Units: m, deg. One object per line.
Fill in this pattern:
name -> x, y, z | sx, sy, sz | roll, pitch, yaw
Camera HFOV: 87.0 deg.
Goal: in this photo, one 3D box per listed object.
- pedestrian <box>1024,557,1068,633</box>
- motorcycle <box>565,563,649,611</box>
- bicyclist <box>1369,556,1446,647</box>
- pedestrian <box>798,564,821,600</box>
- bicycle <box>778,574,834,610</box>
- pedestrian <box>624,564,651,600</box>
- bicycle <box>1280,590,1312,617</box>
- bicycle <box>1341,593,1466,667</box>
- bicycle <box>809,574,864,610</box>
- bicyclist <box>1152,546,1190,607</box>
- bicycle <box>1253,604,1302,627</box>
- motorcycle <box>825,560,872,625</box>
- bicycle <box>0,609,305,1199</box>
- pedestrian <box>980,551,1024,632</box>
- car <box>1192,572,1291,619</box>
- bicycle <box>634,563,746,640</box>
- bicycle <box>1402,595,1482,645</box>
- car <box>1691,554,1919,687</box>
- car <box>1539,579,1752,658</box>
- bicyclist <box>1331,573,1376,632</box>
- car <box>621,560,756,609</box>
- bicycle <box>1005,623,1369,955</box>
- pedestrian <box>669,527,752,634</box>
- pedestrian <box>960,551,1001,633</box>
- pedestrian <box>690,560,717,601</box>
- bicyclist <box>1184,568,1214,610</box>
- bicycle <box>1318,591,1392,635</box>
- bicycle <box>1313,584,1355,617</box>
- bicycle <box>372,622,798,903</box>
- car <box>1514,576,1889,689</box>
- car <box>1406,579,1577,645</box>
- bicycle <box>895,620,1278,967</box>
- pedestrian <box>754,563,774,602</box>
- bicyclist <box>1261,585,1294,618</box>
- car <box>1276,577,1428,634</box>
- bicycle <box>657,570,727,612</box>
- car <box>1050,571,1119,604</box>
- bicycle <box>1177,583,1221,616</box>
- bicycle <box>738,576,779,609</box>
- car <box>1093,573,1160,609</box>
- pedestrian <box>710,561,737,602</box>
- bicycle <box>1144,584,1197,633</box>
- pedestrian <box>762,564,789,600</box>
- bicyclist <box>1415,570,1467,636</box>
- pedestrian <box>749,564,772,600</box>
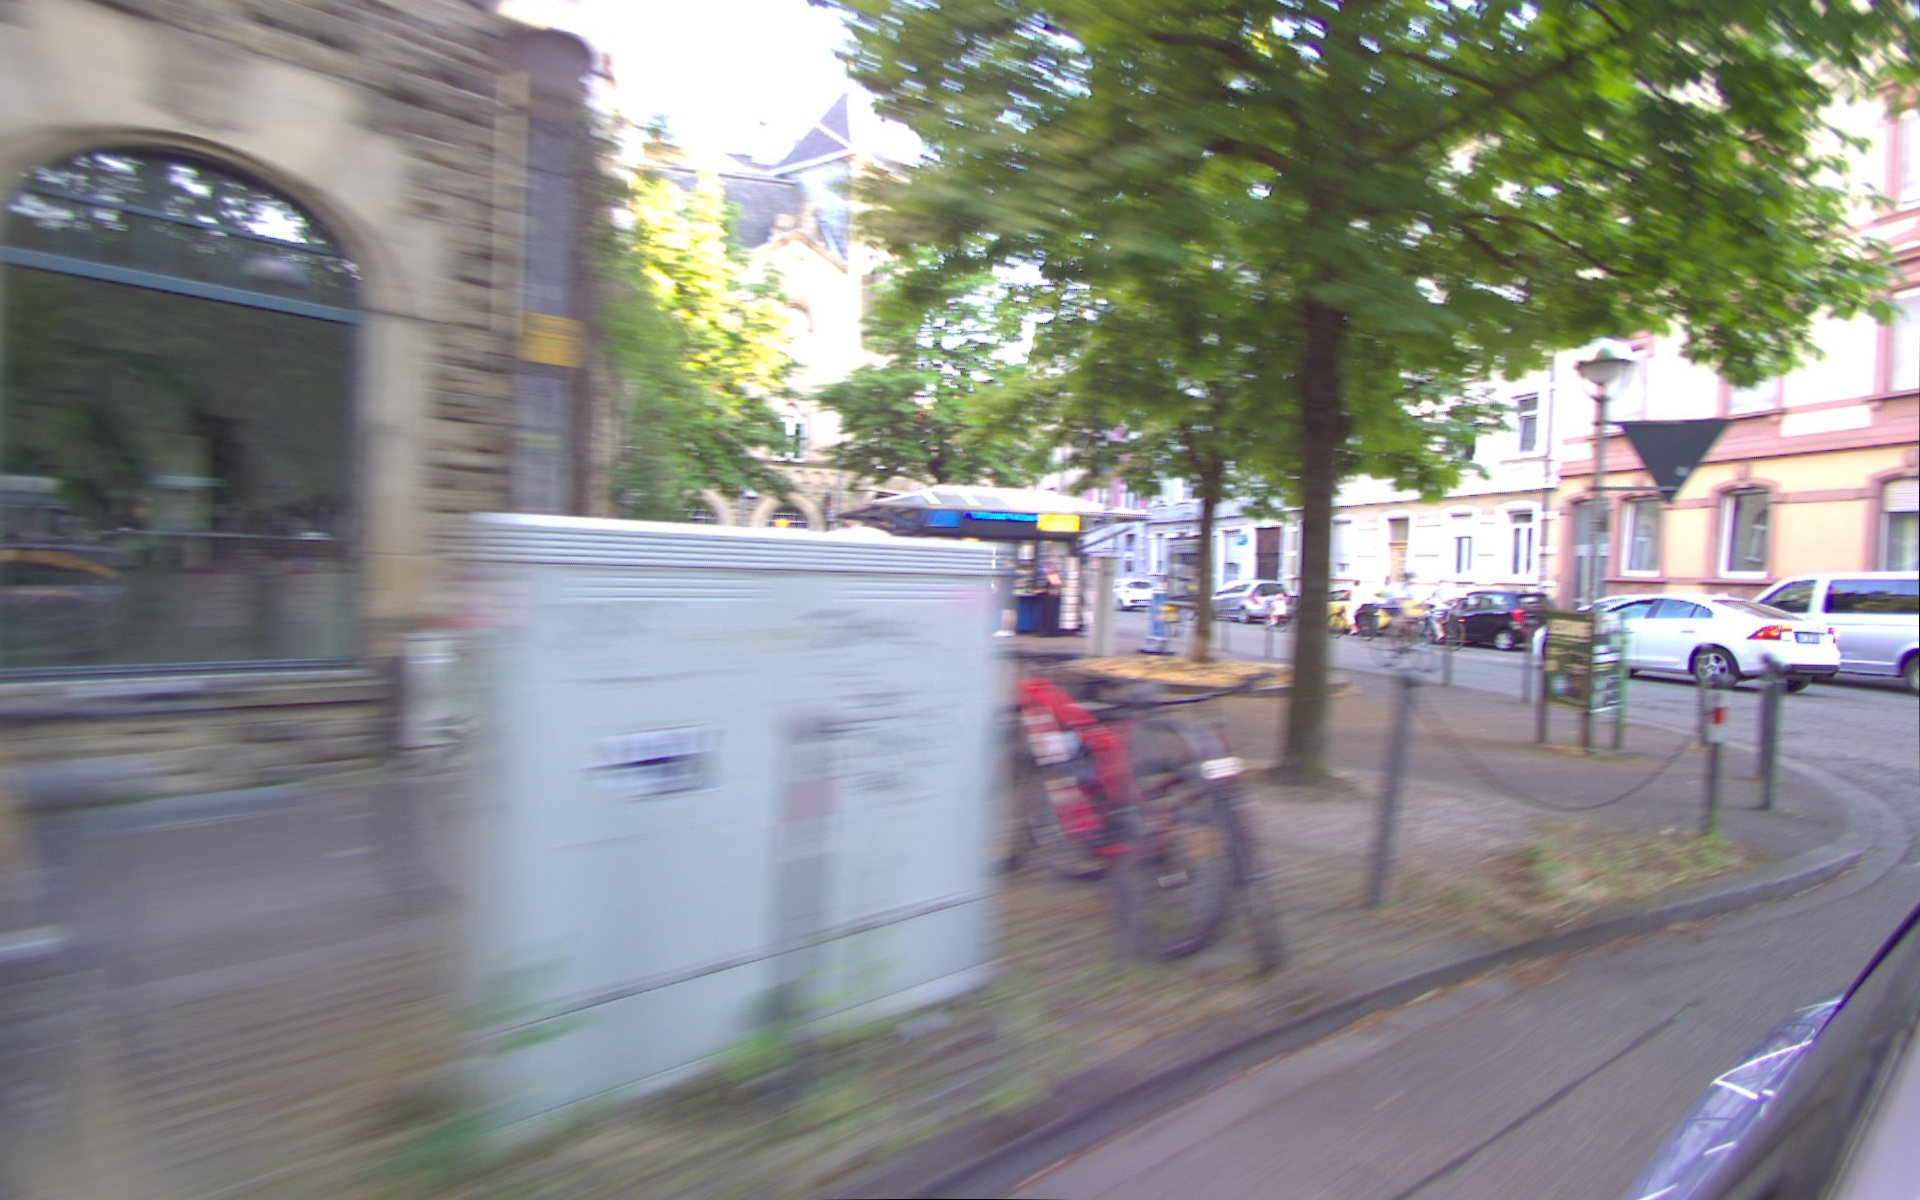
pedestrian -> 1.809, -0.104, 21.267 | 0.667, 1.558, 0.589 | 1, 2, -45
motorcycle -> -8.334, -0.314, 23.942 | 1.794, 1.067, 0.580 | 1, 1, -13
bicyclist -> 7.733, 0.019, 17.517 | 0.672, 1.531, 0.975 | 1, 1, -21
pedestrian -> -5.648, -0.694, 37.986 | 0.699, 1.314, 0.766 | 1, 1, -16
bicycle -> -5.286, -0.275, 34.831 | 1.797, 1.176, 0.539 | 1, 1, -28
pedestrian -> -11.623, -0.659, 36.495 | 0.907, 1.242, 0.825 | 1, 1, -17
bicycle -> 13.366, 0.120, 40.296 | 0.393, 0.989, 1.469 | 4, 0, -17
bicycle -> 7.675, 0.488, 17.644 | 0.672, 1.166, 2.120 | 1, 1, -21
bicycle -> -4.232, -0.267, 34.725 | 1.797, 1.165, 0.559 | 1, 1, -28
bicyclist -> 5.469, -0.605, 26.249 | 0.672, 1.531, 0.974 | 1, 1, -6
bicycle -> 9.908, 0.473, 31.607 | 0.638, 0.650, 1.467 | 1, 2, -23
motorcycle -> -2.694, -0.198, 24.233 | 0.852, 1.471, 1.886 | 2, 1, -13
bicycle -> -1.713, 0.642, 1.793 | 1.602, 1.162, 0.546 | 3, 2, 43
pedestrian -> 0.880, -0.176, 21.254 | 0.667, 1.657, 0.589 | 1, 2, -45
car -> 10.370, -0.219, 37.564 | 1.768, 1.612, 4.154 | -1, 2, -13
bicycle -> -4.728, 0.007, 17.689 | 1.894, 1.202, 0.630 | 3, 2, 25
bicycle -> 11.698, 0.465, 24.642 | 0.671, 1.108, 1.813 | 2, 1, -17
car -> 15.699, 0.264, 17.323 | 2.004, 2.082, 5.016 | 0, 2, -14
car -> 14.789, 0.330, 22.076 | 1.654, 1.510, 3.622 | 0, 2, -16
bicyclist -> 10.852, 0.061, 27.917 | 0.711, 1.603, 0.877 | 1, 1, -19
car -> -8.511, -0.505, 31.986 | 3.953, 1.401, 1.889 | 1, 2, -12
bicycle -> 0.865, 0.675, 4.294 | 0.424, 1.052, 1.608 | 1, 2, -35
pedestrian -> -4.450, -0.354, 18.070 | 0.995, 1.811, 0.972 | 3, 2, 25
pedestrian -> 0.424, -0.178, 20.993 | 0.664, 1.657, 0.592 | 1, 1, -16
pedestrian -> -9.337, -0.712, 36.790 | 0.883, 1.443, 0.716 | 1, 1, -17
bicyclist -> 8.904, -0.418, 37.748 | 0.700, 1.545, 0.869 | 1, 1, -14
bicycle -> 10.855, 0.334, 27.890 | 0.714, 1.108, 2.053 | 1, 2, -19
bicycle -> 13.815, 0.000, 37.471 | 0.471, 1.154, 1.868 | 2, 1, -13
bicycle -> -1.555, 0.612, 4.428 | 1.697, 0.981, 0.431 | 0, 2, -42
car -> 12.131, 0.432, 17.082 | 1.958, 1.535, 4.853 | 1, 2, -17
car -> 13.469, 0.244, 25.897 | 1.698, 1.510, 3.751 | -1, 2, -18
bicycle -> 0.412, 0.670, 4.303 | 0.424, 1.052, 1.900 | 1, 2, -35
pedestrian -> -7.101, -0.647, 36.637 | 0.699, 1.379, 0.822 | 1, 1, -11
bicyclist -> 9.906, 0.036, 31.628 | 0.635, 0.989, 0.732 | 1, 1, -23
car -> 11.971, 0.104, 31.306 | 1.806, 1.544, 4.813 | -1, 2, -17
bicycle -> -6.892, -0.234, 26.108 | 1.703, 1.008, 0.580 | 1, 1, -13
car -> 6.447, -0.715, 52.967 | 1.800, 1.612, 4.683 | -1, 2, -17
bicycle -> 8.891, -0.028, 37.771 | 0.708, 1.121, 2.019 | 1, 2, -14
bicycle -> -6.862, -0.263, 34.469 | 0.583, 1.091, 1.826 | 2, 1, 16
car -> 7.840, -0.474, 47.949 | 1.722, 1.595, 3.936 | -1, 2, -14
pedestrian -> -8.669, -0.678, 37.103 | 0.883, 1.443, 0.716 | 1, 1, -17
bicycle -> 5.438, 0.192, 26.270 | 0.672, 1.166, 2.118 | 1, 1, -7
pedestrian -> -6.910, -0.692, 37.924 | 0.704, 1.314, 0.761 | 2, 1, 15
bicyclist -> 11.706, 0.065, 24.631 | 0.664, 1.564, 0.877 | 1, 1, -16
pedestrian -> -7.450, -0.687, 37.794 | 0.699, 1.314, 0.766 | 1, 1, -21
